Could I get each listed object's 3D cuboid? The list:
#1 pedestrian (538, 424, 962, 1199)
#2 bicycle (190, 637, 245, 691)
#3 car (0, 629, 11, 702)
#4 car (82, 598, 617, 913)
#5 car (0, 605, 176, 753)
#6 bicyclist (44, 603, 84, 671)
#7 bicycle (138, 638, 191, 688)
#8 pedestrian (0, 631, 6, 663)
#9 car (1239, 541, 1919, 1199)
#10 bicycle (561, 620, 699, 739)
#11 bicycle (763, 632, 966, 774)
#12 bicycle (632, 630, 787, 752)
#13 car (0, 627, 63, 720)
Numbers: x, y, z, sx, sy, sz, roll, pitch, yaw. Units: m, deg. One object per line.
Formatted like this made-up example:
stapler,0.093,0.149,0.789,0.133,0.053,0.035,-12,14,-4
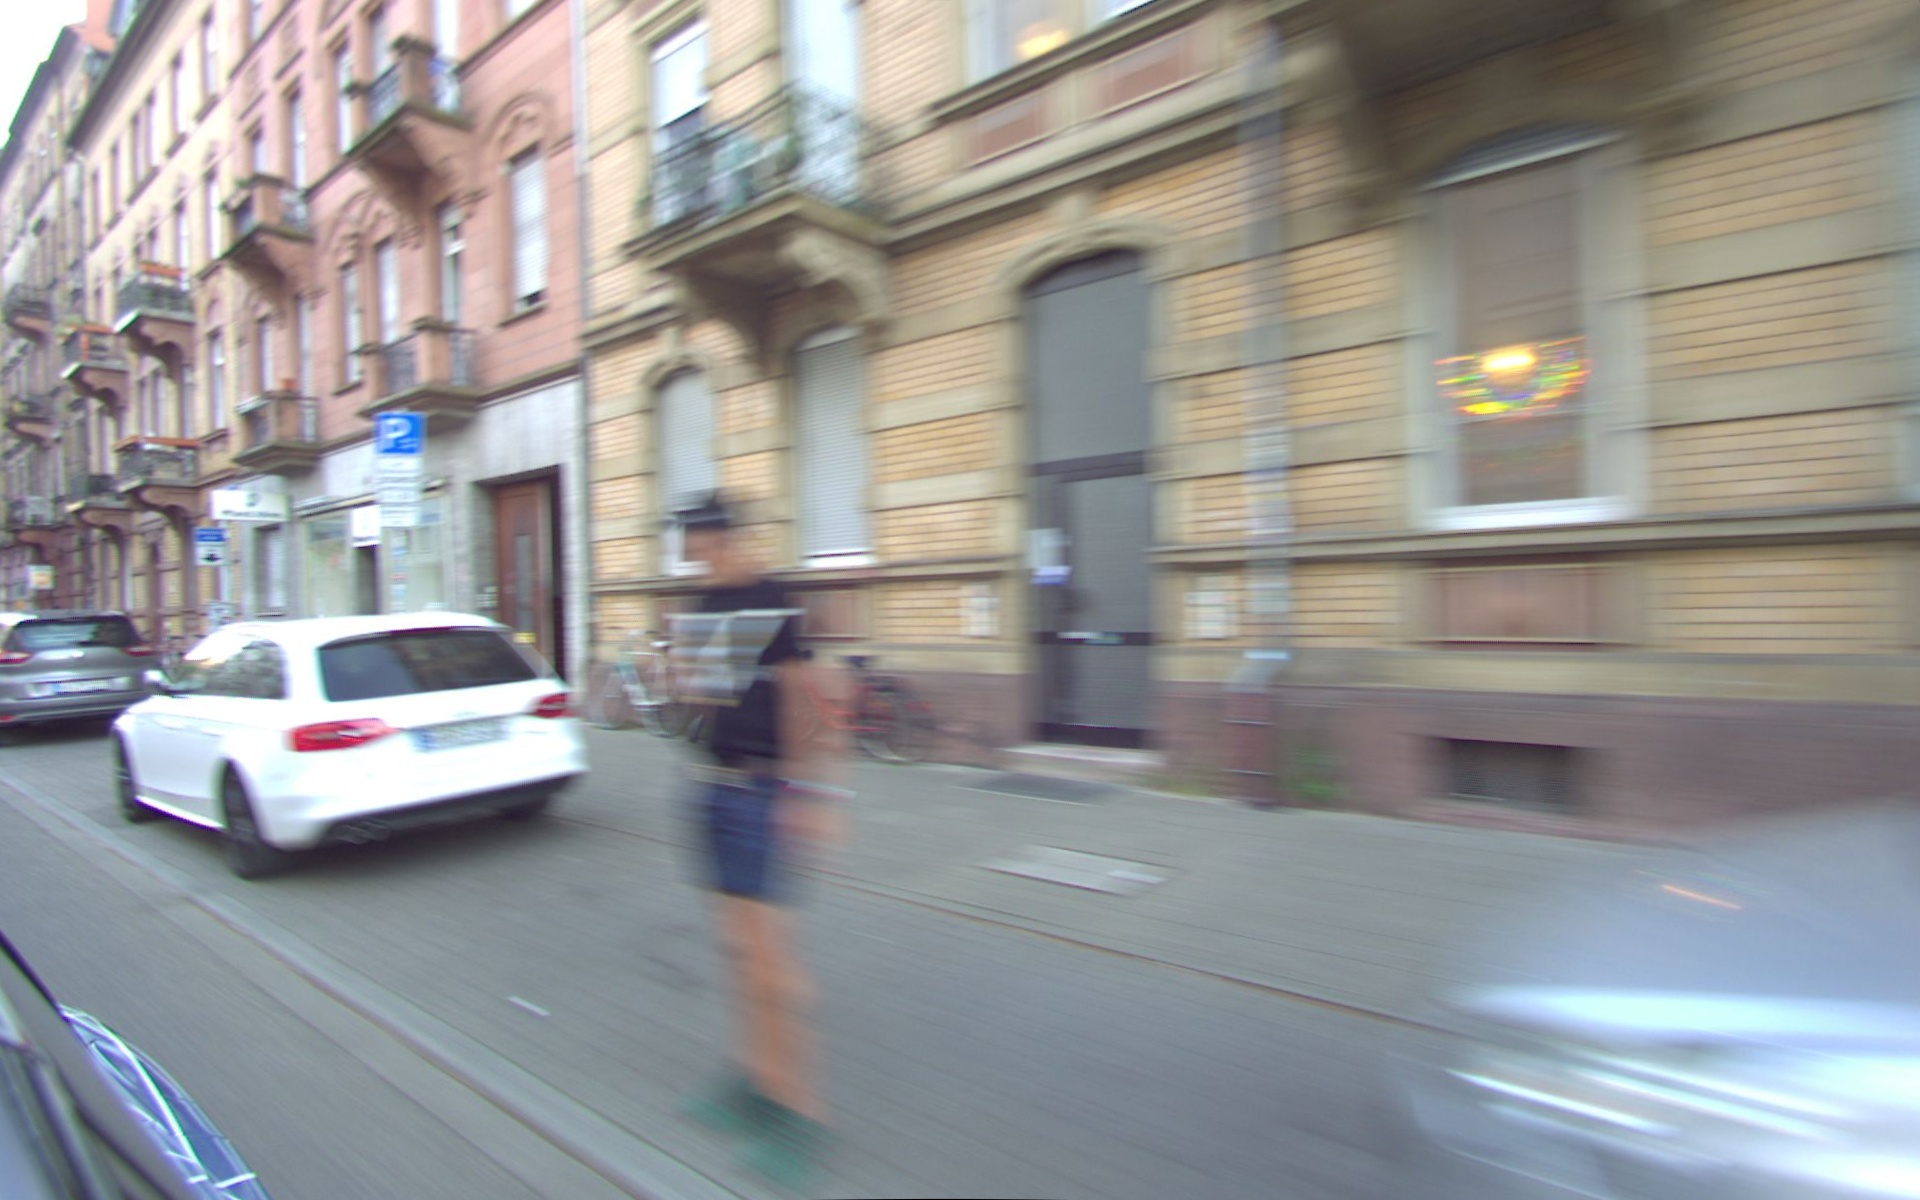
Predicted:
pedestrian,-0.582,0.497,2.736,1.020,1.768,0.549,-1,1,36
bicycle,-15.220,1.286,20.735,1.847,1.030,0.445,-2,3,41
car,-21.234,1.379,21.006,4.578,1.431,1.705,-1,1,40
car,-4.356,0.795,6.878,4.505,1.422,1.740,-2,0,40
car,-12.299,0.980,13.640,4.442,1.646,1.834,-2,0,40
bicyclist,-23.871,0.969,26.962,0.699,1.742,0.845,-2,1,-38
bicycle,-17.890,1.395,22.748,1.758,1.045,0.543,-2,2,41
pedestrian,-38.533,1.887,40.140,0.903,1.263,0.645,-3,2,25
car,2.501,0.610,0.846,3.998,1.468,1.699,-2,1,42
bicycle,-3.496,0.802,10.645,1.729,1.140,0.510,-2,0,40
bicycle,-0.806,0.805,8.303,1.619,1.035,0.588,-2,0,33
bicycle,-2.408,0.829,9.630,1.623,1.044,0.559,-2,0,40
car,-16.553,1.233,17.136,3.694,1.431,1.569,-2,0,41
